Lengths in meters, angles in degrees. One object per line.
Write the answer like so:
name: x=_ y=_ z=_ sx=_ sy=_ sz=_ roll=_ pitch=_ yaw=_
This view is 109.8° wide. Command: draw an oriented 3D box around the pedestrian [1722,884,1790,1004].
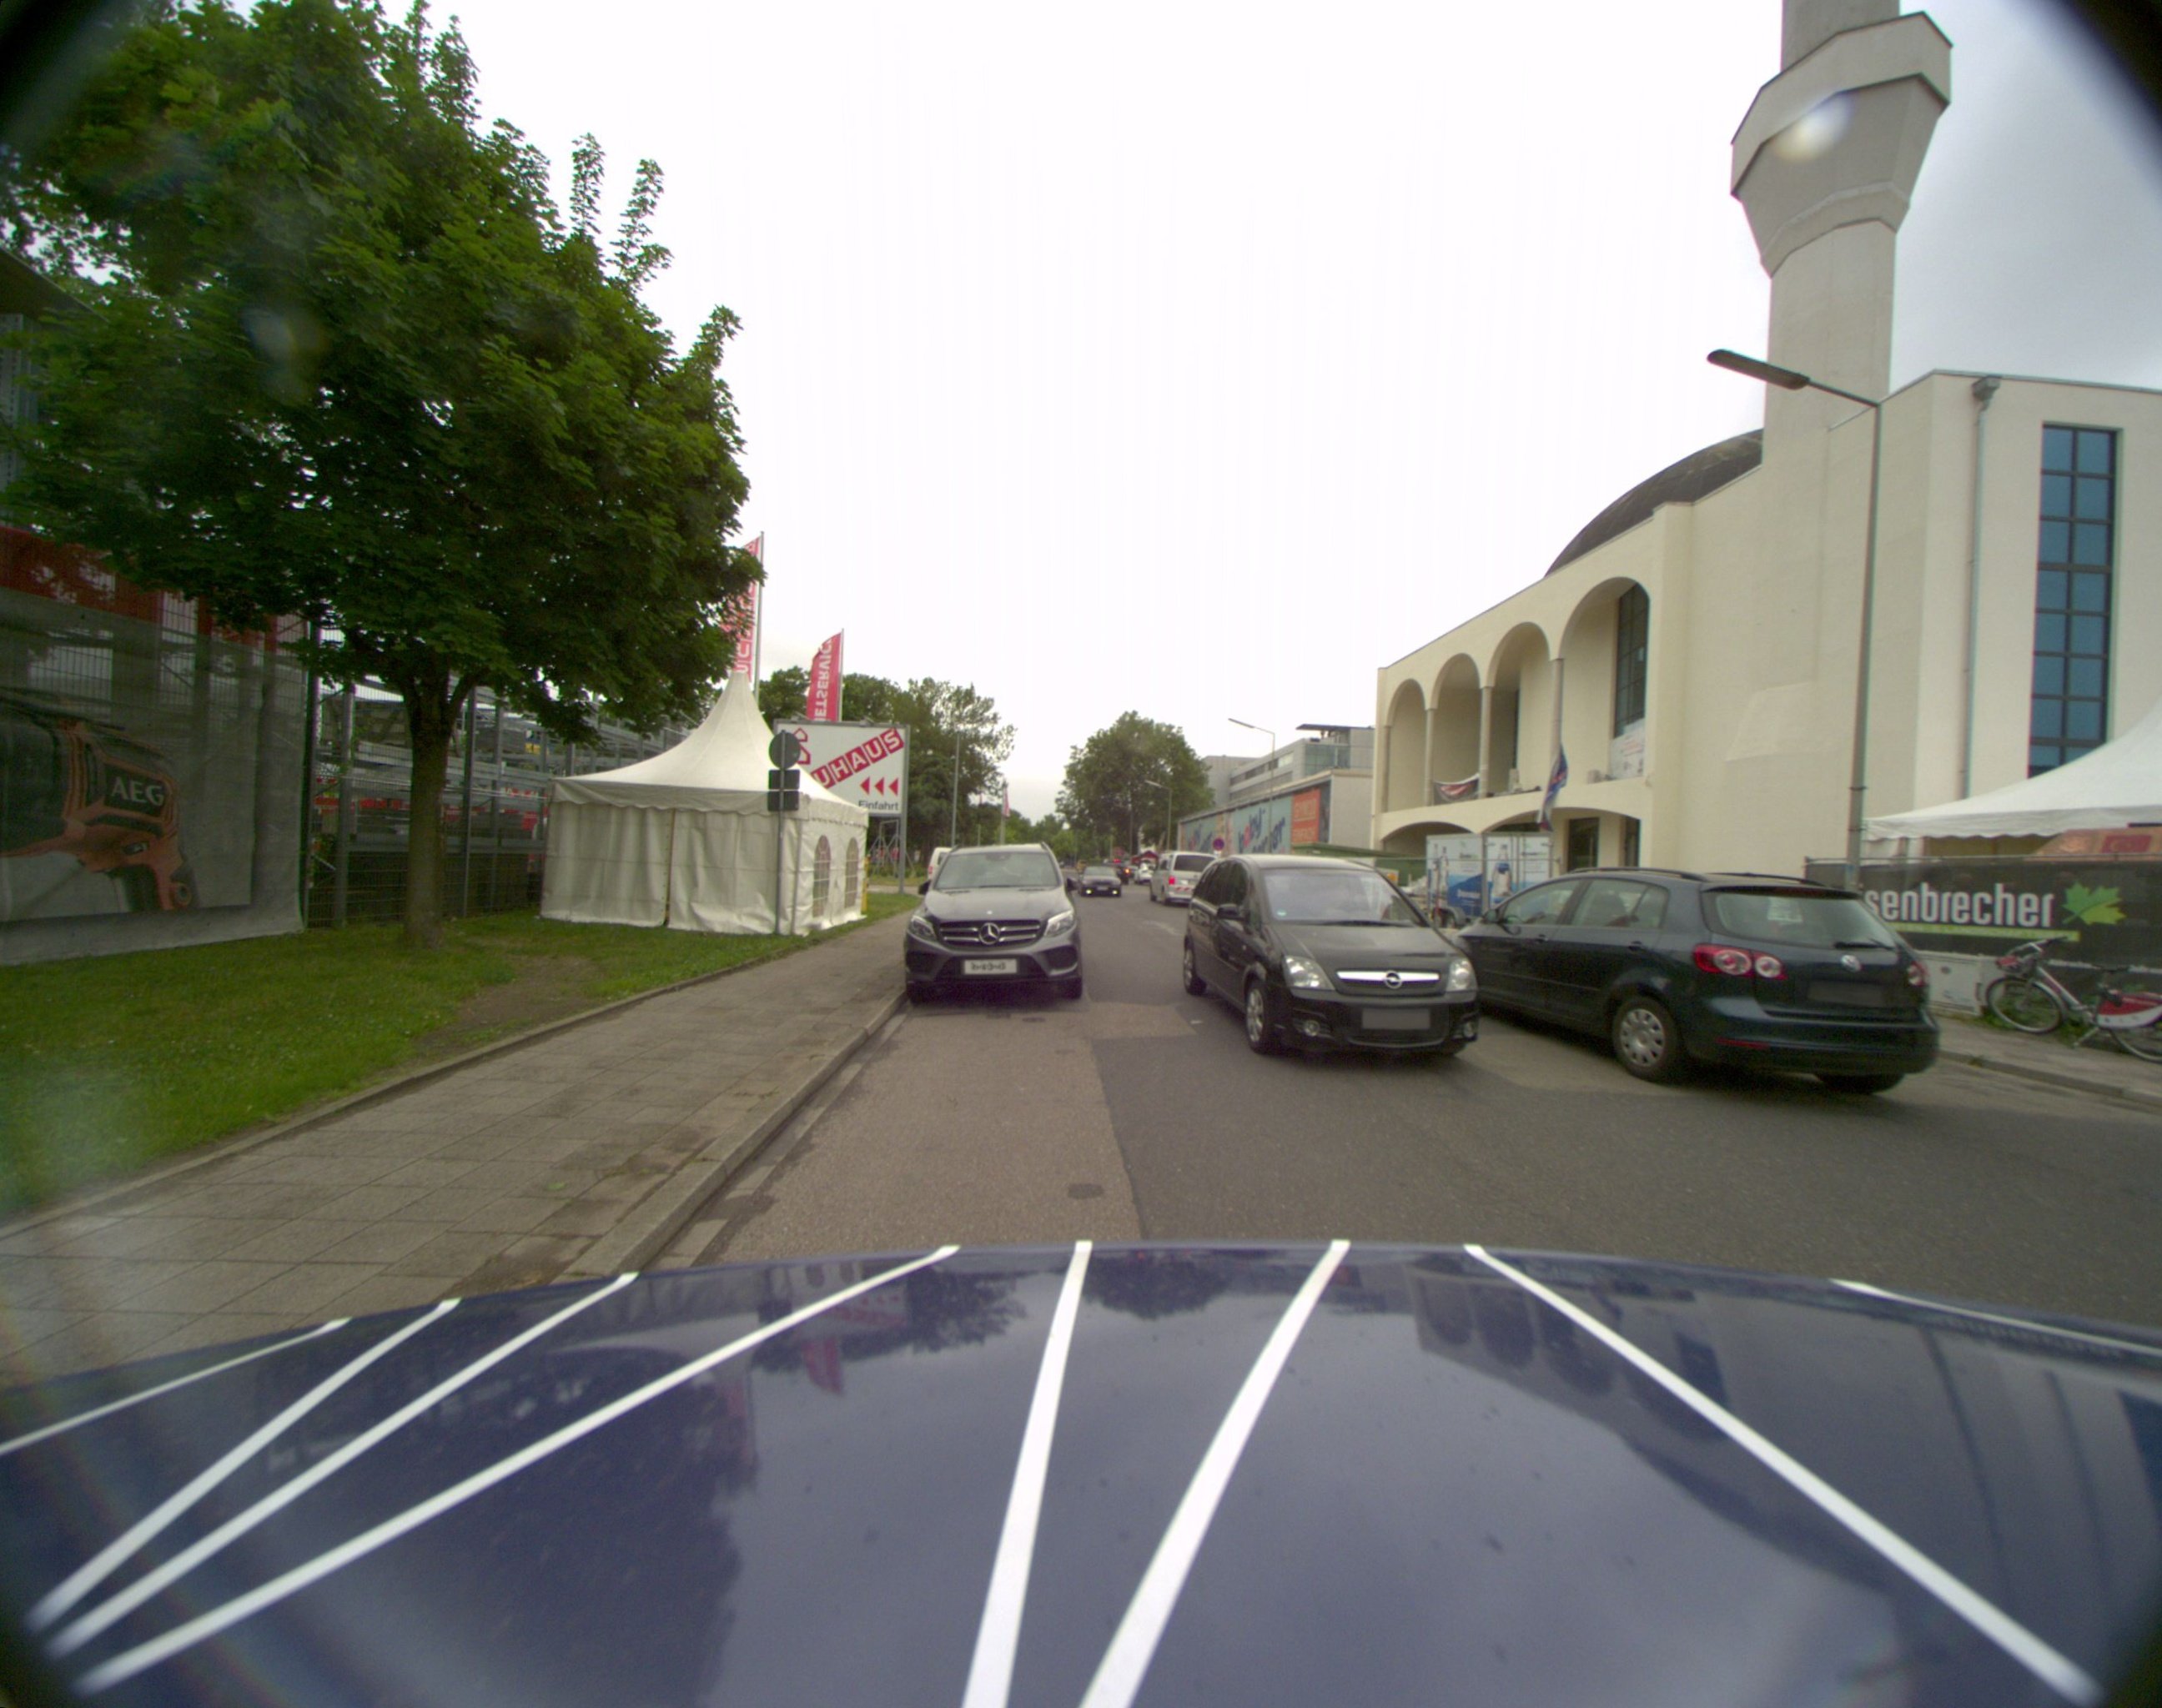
pedestrian: x=10.069 y=1.312 z=11.348 sx=0.694 sy=1.707 sz=0.689 roll=-2 pitch=-2 yaw=41

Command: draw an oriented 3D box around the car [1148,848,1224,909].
car: x=3.817 y=0.834 z=28.488 sx=1.932 sy=2.002 sz=4.953 roll=2 pitch=1 yaw=-2

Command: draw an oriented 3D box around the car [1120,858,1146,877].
car: x=4.883 y=1.264 z=71.540 sx=1.929 sy=1.564 sz=4.148 roll=5 pitch=0 yaw=-2

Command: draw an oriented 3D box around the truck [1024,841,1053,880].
truck: x=-2.912 y=0.436 z=52.304 sx=1.853 sy=2.597 sz=3.999 roll=-1 pitch=0 yaw=-3

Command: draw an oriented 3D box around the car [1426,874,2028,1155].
car: x=4.899 y=1.052 z=6.661 sx=1.734 sy=1.562 sz=3.945 roll=3 pitch=0 yaw=-3

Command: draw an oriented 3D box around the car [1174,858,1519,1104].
car: x=2.064 y=0.893 z=7.091 sx=1.685 sy=1.622 sz=3.757 roll=2 pitch=0 yaw=-3

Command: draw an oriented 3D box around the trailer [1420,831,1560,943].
trailer: x=10.443 y=0.793 z=19.692 sx=1.802 sy=2.591 sz=3.191 roll=3 pitch=0 yaw=0

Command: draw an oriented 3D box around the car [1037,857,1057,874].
car: x=-3.708 y=1.250 z=82.660 sx=1.999 sy=1.739 sz=3.999 roll=2 pitch=0 yaw=-2

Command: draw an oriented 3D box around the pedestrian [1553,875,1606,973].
pedestrian: x=9.271 y=1.275 z=14.126 sx=0.689 sy=1.739 sz=0.492 roll=3 pitch=1 yaw=42

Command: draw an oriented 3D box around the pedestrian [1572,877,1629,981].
pedestrian: x=9.056 y=1.281 z=13.257 sx=0.689 sy=1.739 sz=0.492 roll=3 pitch=1 yaw=42

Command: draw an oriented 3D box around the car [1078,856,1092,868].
car: x=0.576 y=1.135 z=111.102 sx=1.929 sy=1.564 sz=3.999 roll=3 pitch=0 yaw=-2

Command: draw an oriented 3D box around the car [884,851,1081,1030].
car: x=-1.044 y=0.851 z=9.750 sx=1.914 sy=1.731 sz=4.479 roll=-1 pitch=0 yaw=-2

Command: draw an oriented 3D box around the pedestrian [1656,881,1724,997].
pedestrian: x=8.847 y=1.212 z=11.041 sx=0.492 sy=1.602 sz=0.539 roll=3 pitch=1 yaw=-31

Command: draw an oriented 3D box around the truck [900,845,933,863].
truck: x=-22.386 y=0.033 z=103.600 sx=1.994 sy=2.382 sz=4.009 roll=2 pitch=0 yaw=37

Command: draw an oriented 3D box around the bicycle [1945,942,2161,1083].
bicycle: x=10.414 y=1.593 z=7.982 sx=0.545 sy=1.071 sz=1.901 roll=2 pitch=1 yaw=4

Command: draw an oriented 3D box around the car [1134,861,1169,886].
car: x=5.083 y=1.366 z=55.257 sx=1.929 sy=1.564 sz=4.148 roll=5 pitch=0 yaw=-2

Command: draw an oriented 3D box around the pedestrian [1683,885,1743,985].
pedestrian: x=10.465 y=1.323 z=12.593 sx=0.541 sy=1.602 sz=0.490 roll=0 pitch=1 yaw=-6

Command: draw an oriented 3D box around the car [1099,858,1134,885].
car: x=2.452 y=1.208 z=53.793 sx=1.965 sy=1.652 sz=4.652 roll=5 pitch=0 yaw=-3

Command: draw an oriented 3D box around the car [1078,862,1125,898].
car: x=0.812 y=1.096 z=33.023 sx=1.750 sy=1.351 sz=4.136 roll=1 pitch=1 yaw=-2

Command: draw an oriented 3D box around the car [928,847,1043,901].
car: x=-3.800 y=0.777 z=30.698 sx=4.382 sy=1.797 sz=1.800 roll=4 pitch=0 yaw=-4

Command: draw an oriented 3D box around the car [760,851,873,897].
car: x=-9.441 y=0.704 z=27.421 sx=3.691 sy=1.575 sz=1.774 roll=1 pitch=0 yaw=-14
